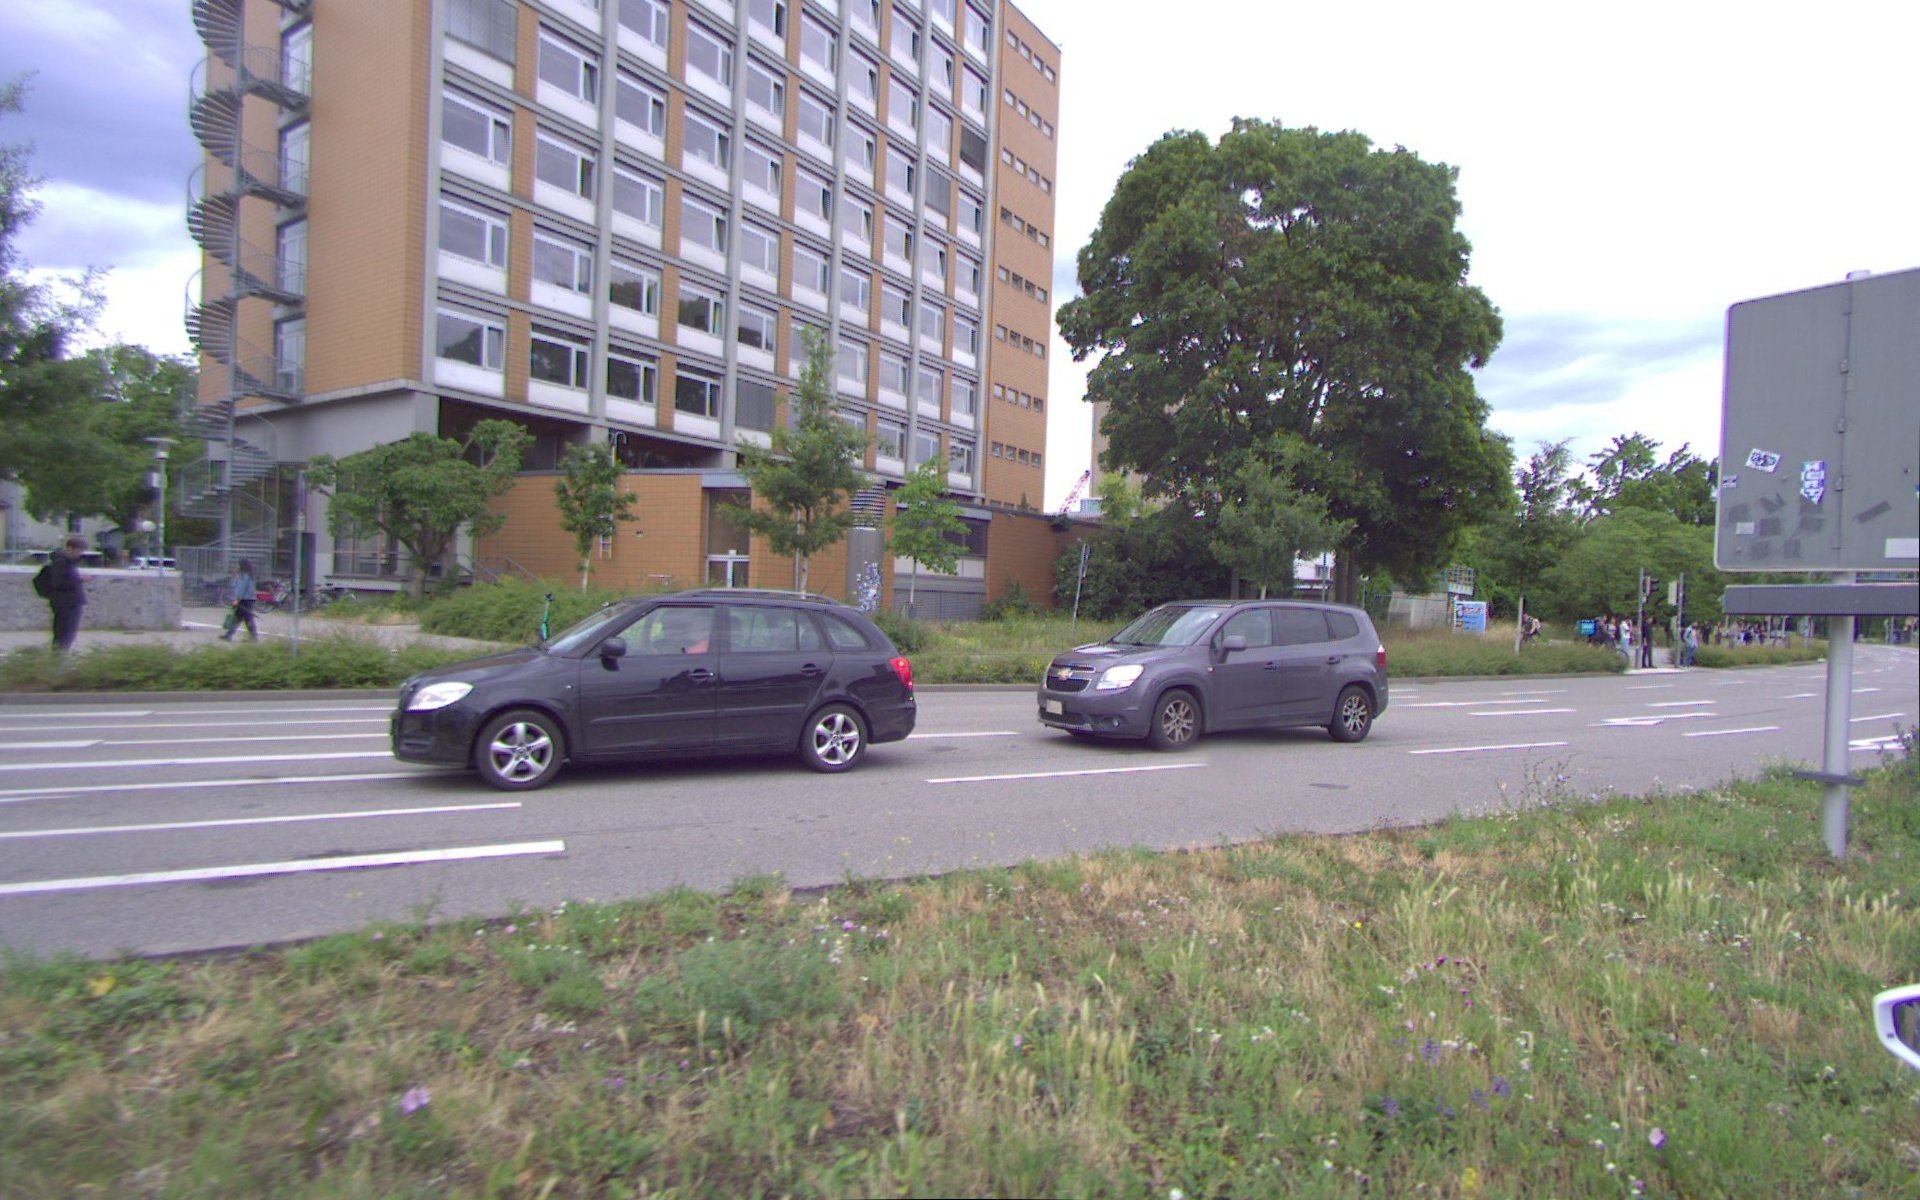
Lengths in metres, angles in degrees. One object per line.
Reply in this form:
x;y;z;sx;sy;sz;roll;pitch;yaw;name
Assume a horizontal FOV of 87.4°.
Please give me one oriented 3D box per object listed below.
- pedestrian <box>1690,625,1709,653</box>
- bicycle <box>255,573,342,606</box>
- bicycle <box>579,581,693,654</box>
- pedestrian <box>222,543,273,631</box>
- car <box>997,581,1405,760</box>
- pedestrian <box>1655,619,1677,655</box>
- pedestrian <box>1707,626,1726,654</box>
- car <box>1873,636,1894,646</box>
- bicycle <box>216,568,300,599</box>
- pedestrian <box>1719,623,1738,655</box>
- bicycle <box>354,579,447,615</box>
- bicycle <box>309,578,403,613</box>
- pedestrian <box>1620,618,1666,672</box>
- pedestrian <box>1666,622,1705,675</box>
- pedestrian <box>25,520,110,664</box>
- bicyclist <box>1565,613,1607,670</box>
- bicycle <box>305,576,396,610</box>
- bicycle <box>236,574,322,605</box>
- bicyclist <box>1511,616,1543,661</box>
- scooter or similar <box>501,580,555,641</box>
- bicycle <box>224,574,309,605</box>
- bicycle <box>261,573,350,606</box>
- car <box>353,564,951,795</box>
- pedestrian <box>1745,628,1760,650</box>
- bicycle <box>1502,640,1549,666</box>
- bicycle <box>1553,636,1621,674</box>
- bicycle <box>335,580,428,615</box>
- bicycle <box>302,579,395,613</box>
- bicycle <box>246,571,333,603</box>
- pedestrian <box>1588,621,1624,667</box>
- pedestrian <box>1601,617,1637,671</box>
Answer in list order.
47.957;2.516;65.111;0.899;1.788;0.748;2;1;-41;pedestrian
-21.832;-0.338;33.188;2.336;0.969;0.591;2;0;-43;bicycle
-7.136;0.376;22.209;2.211;1.468;0.849;3;1;-4;bicycle
-14.670;-0.269;20.697;0.676;1.757;0.745;2;0;-24;pedestrian
2.904;0.770;11.778;4.658;1.748;1.861;3;-1;-31;car
41.626;2.184;59.203;1.039;2.040;0.748;2;1;-41;pedestrian
48.721;2.553;64.679;1.039;1.735;0.748;2;1;-41;pedestrian
125.617;5.556;136.683;1.689;1.282;3.327;4;1;37;car
-24.393;-0.553;34.944;2.336;0.969;0.591;2;0;-43;bicycle
51.242;2.608;66.943;1.039;2.040;0.748;2;1;-41;pedestrian
-16.535;-0.072;29.727;0.589;0.969;2.344;3;0;37;bicycle
-18.120;-0.111;30.184;0.589;0.969;2.344;3;0;37;bicycle
24.571;1.621;36.154;0.856;1.867;1.043;2;1;-32;pedestrian
26.465;1.750;36.643;0.660;1.867;0.888;2;1;-32;pedestrian
-12.953;-0.112;14.594;0.649;2.007;0.817;2;0;-24;pedestrian
21.458;1.416;34.432;0.818;1.869;0.791;3;1;-8;bicyclist
-19.031;-0.214;31.421;0.589;0.969;2.344;3;0;37;bicycle
-23.086;-0.348;34.095;2.336;0.969;0.591;2;0;-43;bicycle
20.919;1.429;37.054;0.704;1.591;0.711;2;1;-33;bicyclist
-10.025;0.228;23.282;0.625;1.320;1.755;2;1;-40;scooter or similar
-23.840;-0.340;34.550;2.336;0.969;0.591;2;0;-43;bicycle
-21.188;-0.321;32.565;2.336;0.969;0.591;2;0;-43;bicycle
-2.469;0.624;8.520;4.424;1.528;1.863;3;-2;-29;car
67.393;3.298;85.389;0.907;1.803;1.059;3;1;41;pedestrian
20.848;1.963;37.021;1.863;0.894;0.710;3;1;-33;bicycle
21.479;1.886;34.439;1.871;1.174;0.790;3;0;-8;bicycle
-17.208;-0.071;29.936;0.589;0.969;2.344;3;0;37;bicycle
-18.649;-0.104;30.682;0.589;0.969;2.344;3;0;37;bicycle
-22.383;-0.427;33.582;2.336;0.969;0.591;2;0;-43;bicycle
24.702;1.687;38.438;0.797;1.671;0.837;2;1;-32;pedestrian
23.339;1.554;35.595;0.758;1.867;0.753;2;1;-32;pedestrian
